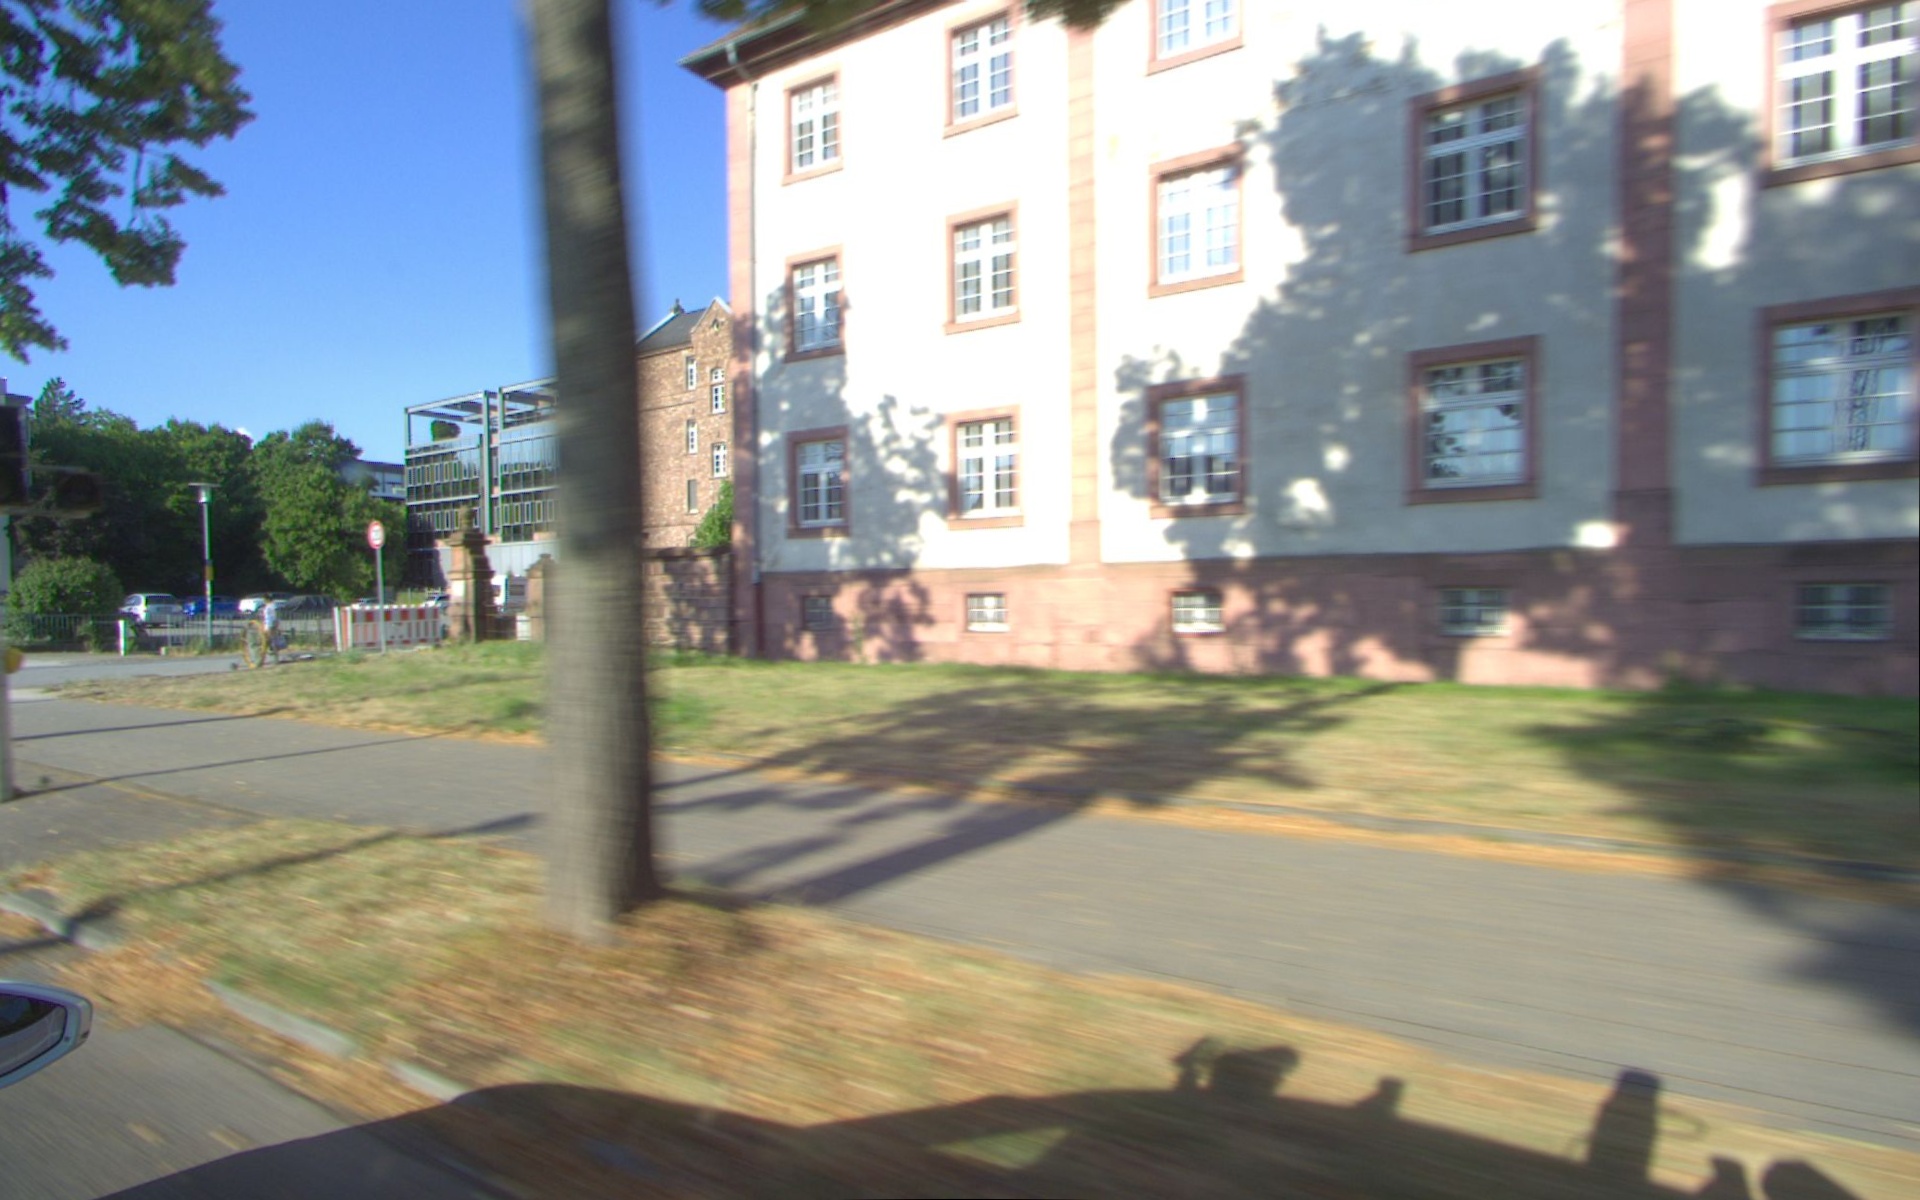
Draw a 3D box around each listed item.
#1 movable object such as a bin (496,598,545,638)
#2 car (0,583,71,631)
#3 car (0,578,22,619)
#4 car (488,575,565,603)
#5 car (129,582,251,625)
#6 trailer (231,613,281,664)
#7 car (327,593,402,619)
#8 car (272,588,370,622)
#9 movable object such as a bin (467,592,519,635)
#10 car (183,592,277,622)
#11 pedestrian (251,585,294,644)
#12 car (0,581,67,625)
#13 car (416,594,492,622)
[{"bbox_3d":[-12.354,0.521,28.162,0.929,1.105,0.978,-1,-2,43],"label":"movable object such as a bin"},{"bbox_3d":[-35.097,0.292,37.465,3.942,1.683,1.651,-1,-2,31],"label":"car"},{"bbox_3d":[-44.534,-0.111,44.347,1.970,1.816,3.984,-1,-2,29],"label":"car"},{"bbox_3d":[-26.419,-0.649,61.117,1.803,1.522,4.069,-1,-2,29],"label":"car"},{"bbox_3d":[-35.021,0.192,45.637,1.970,1.816,3.984,-1,-2,29],"label":"car"},{"bbox_3d":[-15.231,0.828,21.668,1.250,1.080,0.481,-1,-2,35],"label":"trailer"},{"bbox_3d":[-43.231,0.485,72.783,1.970,1.747,4.271,-1,-2,29],"label":"car"},{"bbox_3d":[-36.200,0.325,56.838,1.970,1.747,4.271,-1,-2,29],"label":"car"},{"bbox_3d":[-12.447,0.381,26.687,0.929,1.105,0.978,-1,-2,43],"label":"movable object such as a bin"},{"bbox_3d":[-44.949,0.456,61.777,1.970,1.747,4.271,-1,-2,29],"label":"car"},{"bbox_3d":[-19.230,0.421,28.010,0.777,1.631,0.713,-1,-1,28],"label":"pedestrian"},{"bbox_3d":[-41.810,0.134,43.587,1.970,1.816,3.984,-1,-2,29],"label":"car"},{"bbox_3d":[-34.162,0.576,67.687,1.970,1.747,4.271,-1,-2,29],"label":"car"}]
